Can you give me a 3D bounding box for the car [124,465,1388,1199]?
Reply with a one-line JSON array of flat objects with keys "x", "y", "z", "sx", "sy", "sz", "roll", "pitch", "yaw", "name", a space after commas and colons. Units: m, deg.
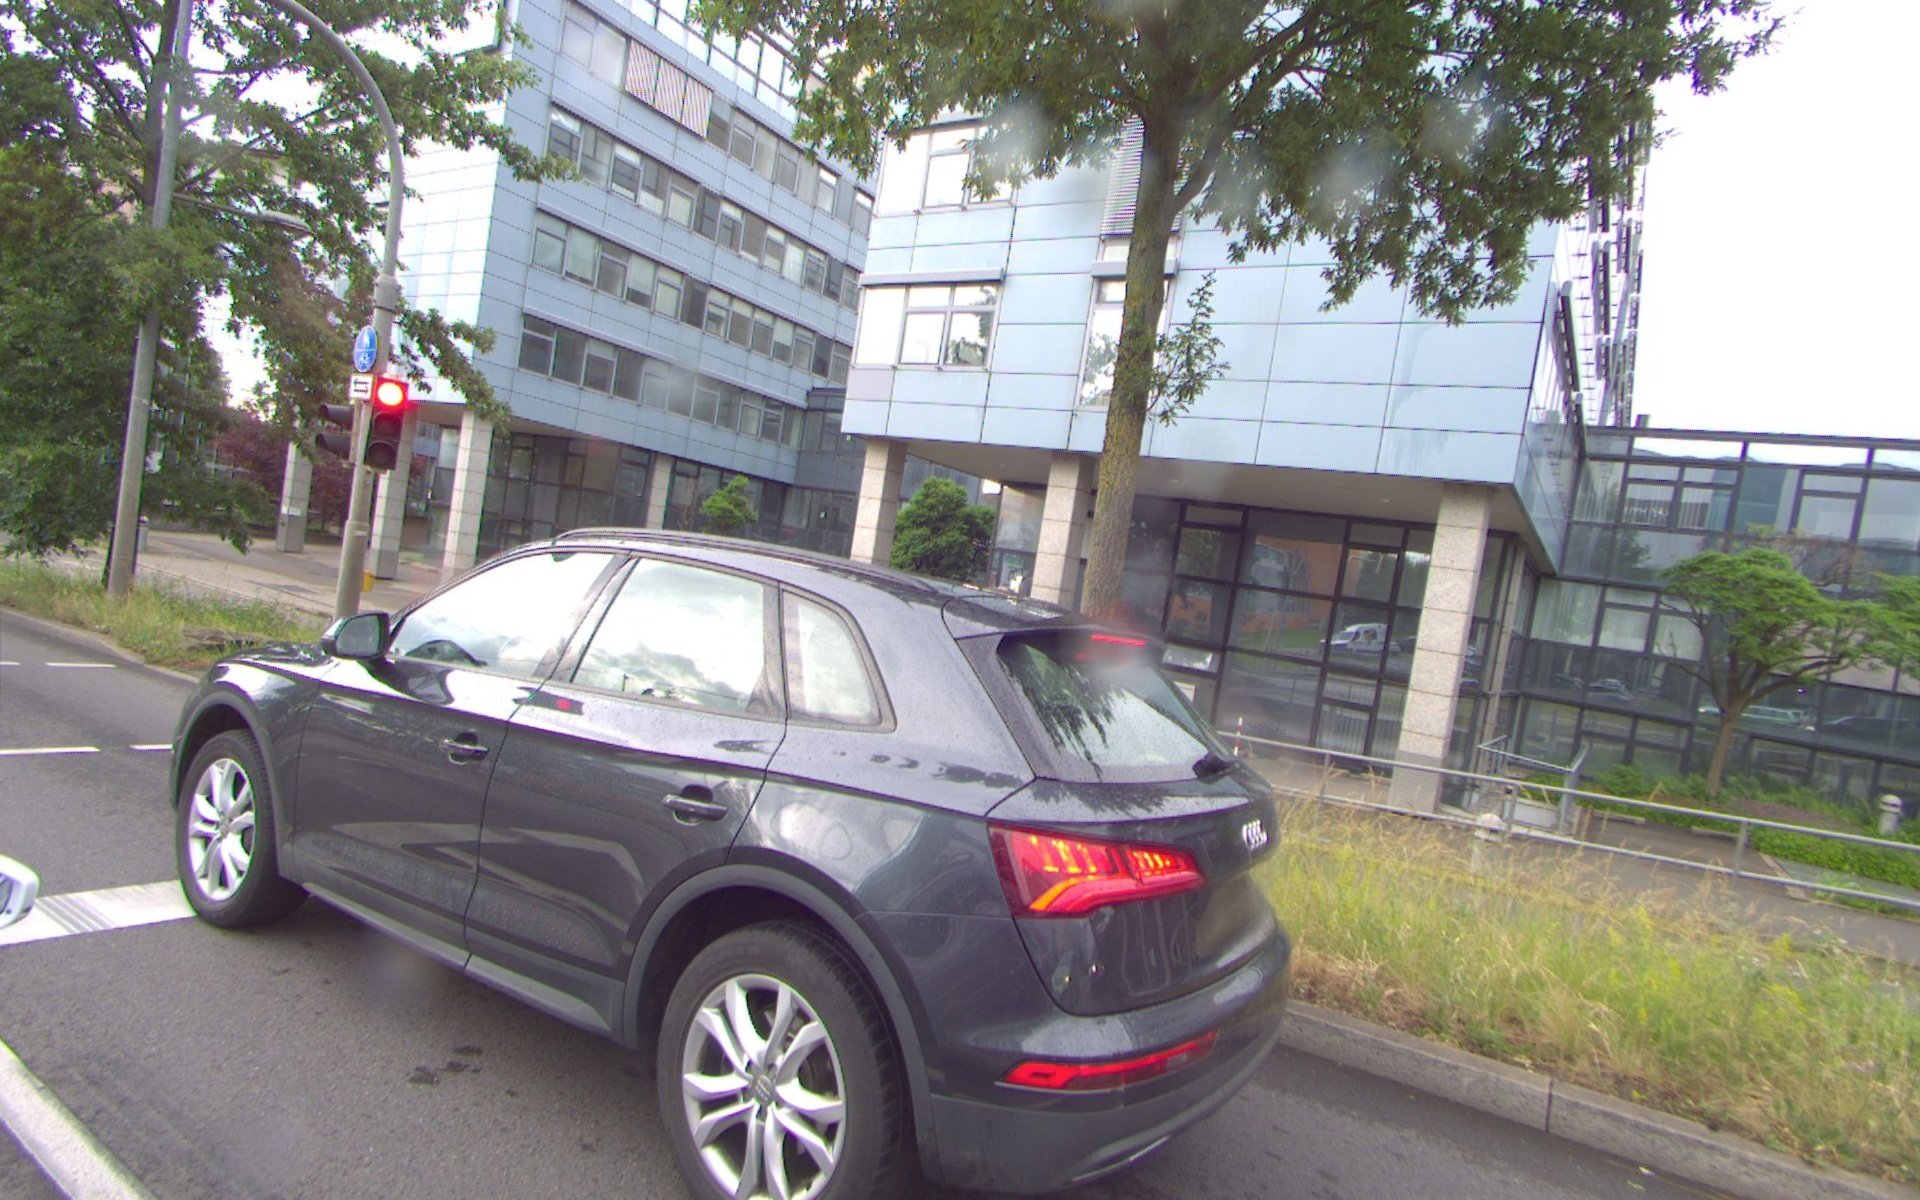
[{"x": -0.992, "y": 0.567, "z": 3.728, "sx": 4.396, "sy": 1.632, "sz": 1.821, "roll": 7, "pitch": -1, "yaw": 32, "name": "car"}]
